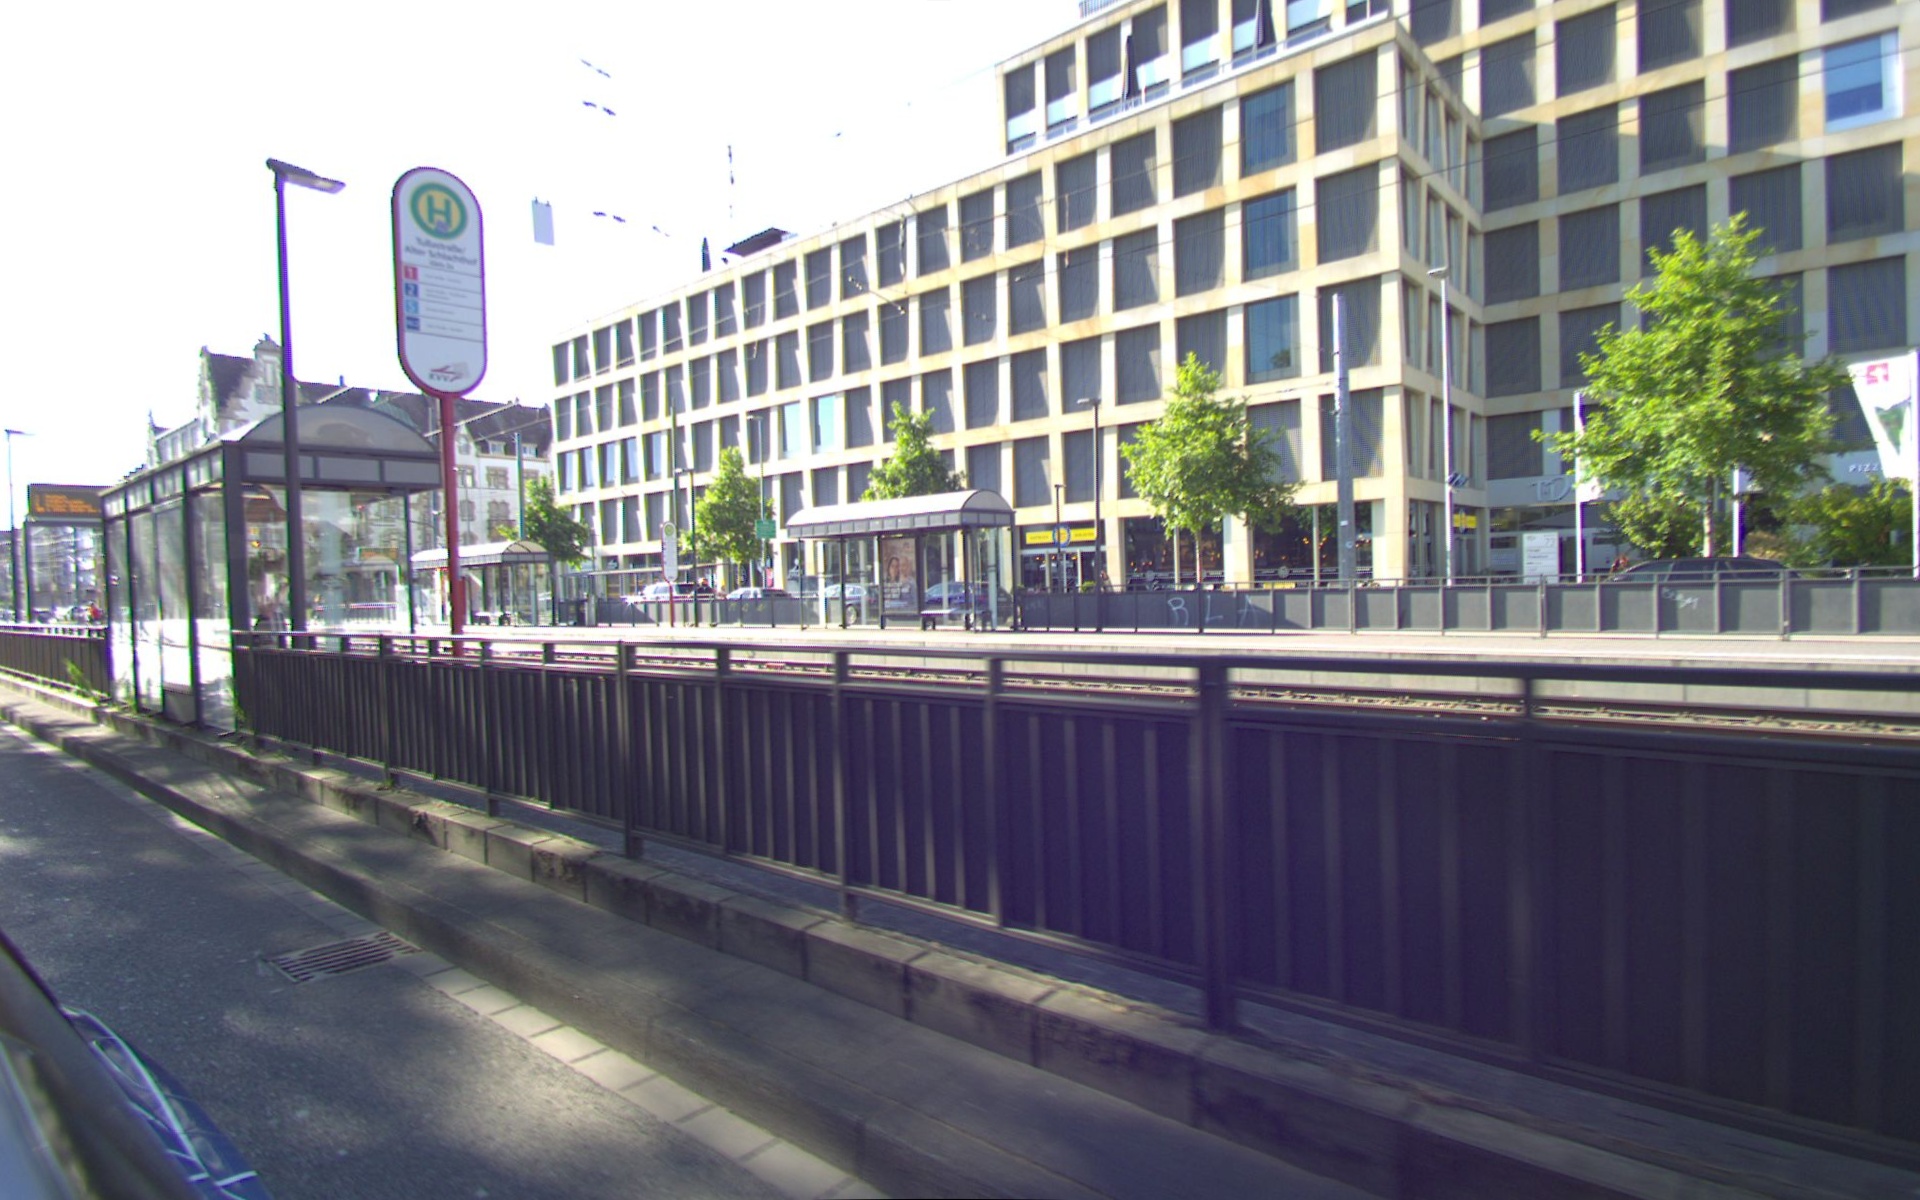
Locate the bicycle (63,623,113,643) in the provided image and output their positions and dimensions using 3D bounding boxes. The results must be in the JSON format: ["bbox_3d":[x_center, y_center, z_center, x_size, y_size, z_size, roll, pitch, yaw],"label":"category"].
[{"bbox_3d":[-43.742,1.656,50.779,1.861,0.884,0.608,-3,1,-41],"label":"bicycle"}]

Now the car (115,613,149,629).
[{"bbox_3d":[-81.922,2.050,100.089,4.427,1.487,1.706,-1,1,38],"label":"car"}]

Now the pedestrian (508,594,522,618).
[{"bbox_3d":[-31.719,0.411,72.157,0.638,1.694,0.609,-1,1,38],"label":"pedestrian"}]

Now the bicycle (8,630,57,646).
[{"bbox_3d":[-44.727,1.834,48.828,1.700,0.613,0.512,-4,2,-40],"label":"bicycle"}]

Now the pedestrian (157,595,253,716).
[{"bbox_3d":[-8.448,0.599,11.329,0.524,1.283,0.734,-1,1,40],"label":"pedestrian"}]

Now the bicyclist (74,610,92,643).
[{"bbox_3d":[-43.898,1.320,50.656,0.620,1.630,0.685,-2,1,-41],"label":"bicyclist"}]

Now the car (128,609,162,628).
[{"bbox_3d":[-77.844,1.762,96.626,3.996,1.682,1.758,-1,1,39],"label":"car"}]

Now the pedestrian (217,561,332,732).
[{"bbox_3d":[-6.439,0.411,9.507,0.666,1.520,0.737,-1,0,44],"label":"pedestrian"}]

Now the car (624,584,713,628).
[{"bbox_3d":[-12.749,0.268,44.173,3.999,1.782,1.898,-1,1,42],"label":"car"}]

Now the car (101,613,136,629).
[{"bbox_3d":[-86.093,2.148,103.514,3.992,1.536,1.722,-2,2,36],"label":"car"}]

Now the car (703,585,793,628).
[{"bbox_3d":[-8.454,0.272,40.204,3.649,1.573,1.627,-1,1,42],"label":"car"}]

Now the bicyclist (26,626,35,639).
[{"bbox_3d":[-115.923,4.032,126.239,0.630,1.630,0.675,-1,1,39],"label":"bicyclist"}]

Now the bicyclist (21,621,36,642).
[{"bbox_3d":[-44.859,1.514,48.749,0.456,1.001,0.512,-2,1,-40],"label":"bicyclist"}]

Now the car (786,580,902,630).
[{"bbox_3d":[-4.212,0.183,36.484,3.999,1.675,1.973,-1,1,42],"label":"car"}]

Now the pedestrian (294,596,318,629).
[{"bbox_3d":[-34.061,0.662,52.668,0.933,1.656,0.785,-1,1,42],"label":"pedestrian"}]

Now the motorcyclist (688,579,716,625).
[{"bbox_3d":[-8.970,0.068,35.162,0.765,1.545,0.569,-1,1,42],"label":"motorcyclist"}]

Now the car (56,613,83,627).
[{"bbox_3d":[-104.057,2.337,118.268,3.998,1.536,1.719,-1,3,41],"label":"car"}]

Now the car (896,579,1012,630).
[{"bbox_3d":[-0.234,0.164,32.969,3.599,1.523,1.627,-1,1,42],"label":"car"}]

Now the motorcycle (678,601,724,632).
[{"bbox_3d":[-9.030,0.571,35.246,1.841,1.029,0.598,-1,1,42],"label":"motorcycle"}]
